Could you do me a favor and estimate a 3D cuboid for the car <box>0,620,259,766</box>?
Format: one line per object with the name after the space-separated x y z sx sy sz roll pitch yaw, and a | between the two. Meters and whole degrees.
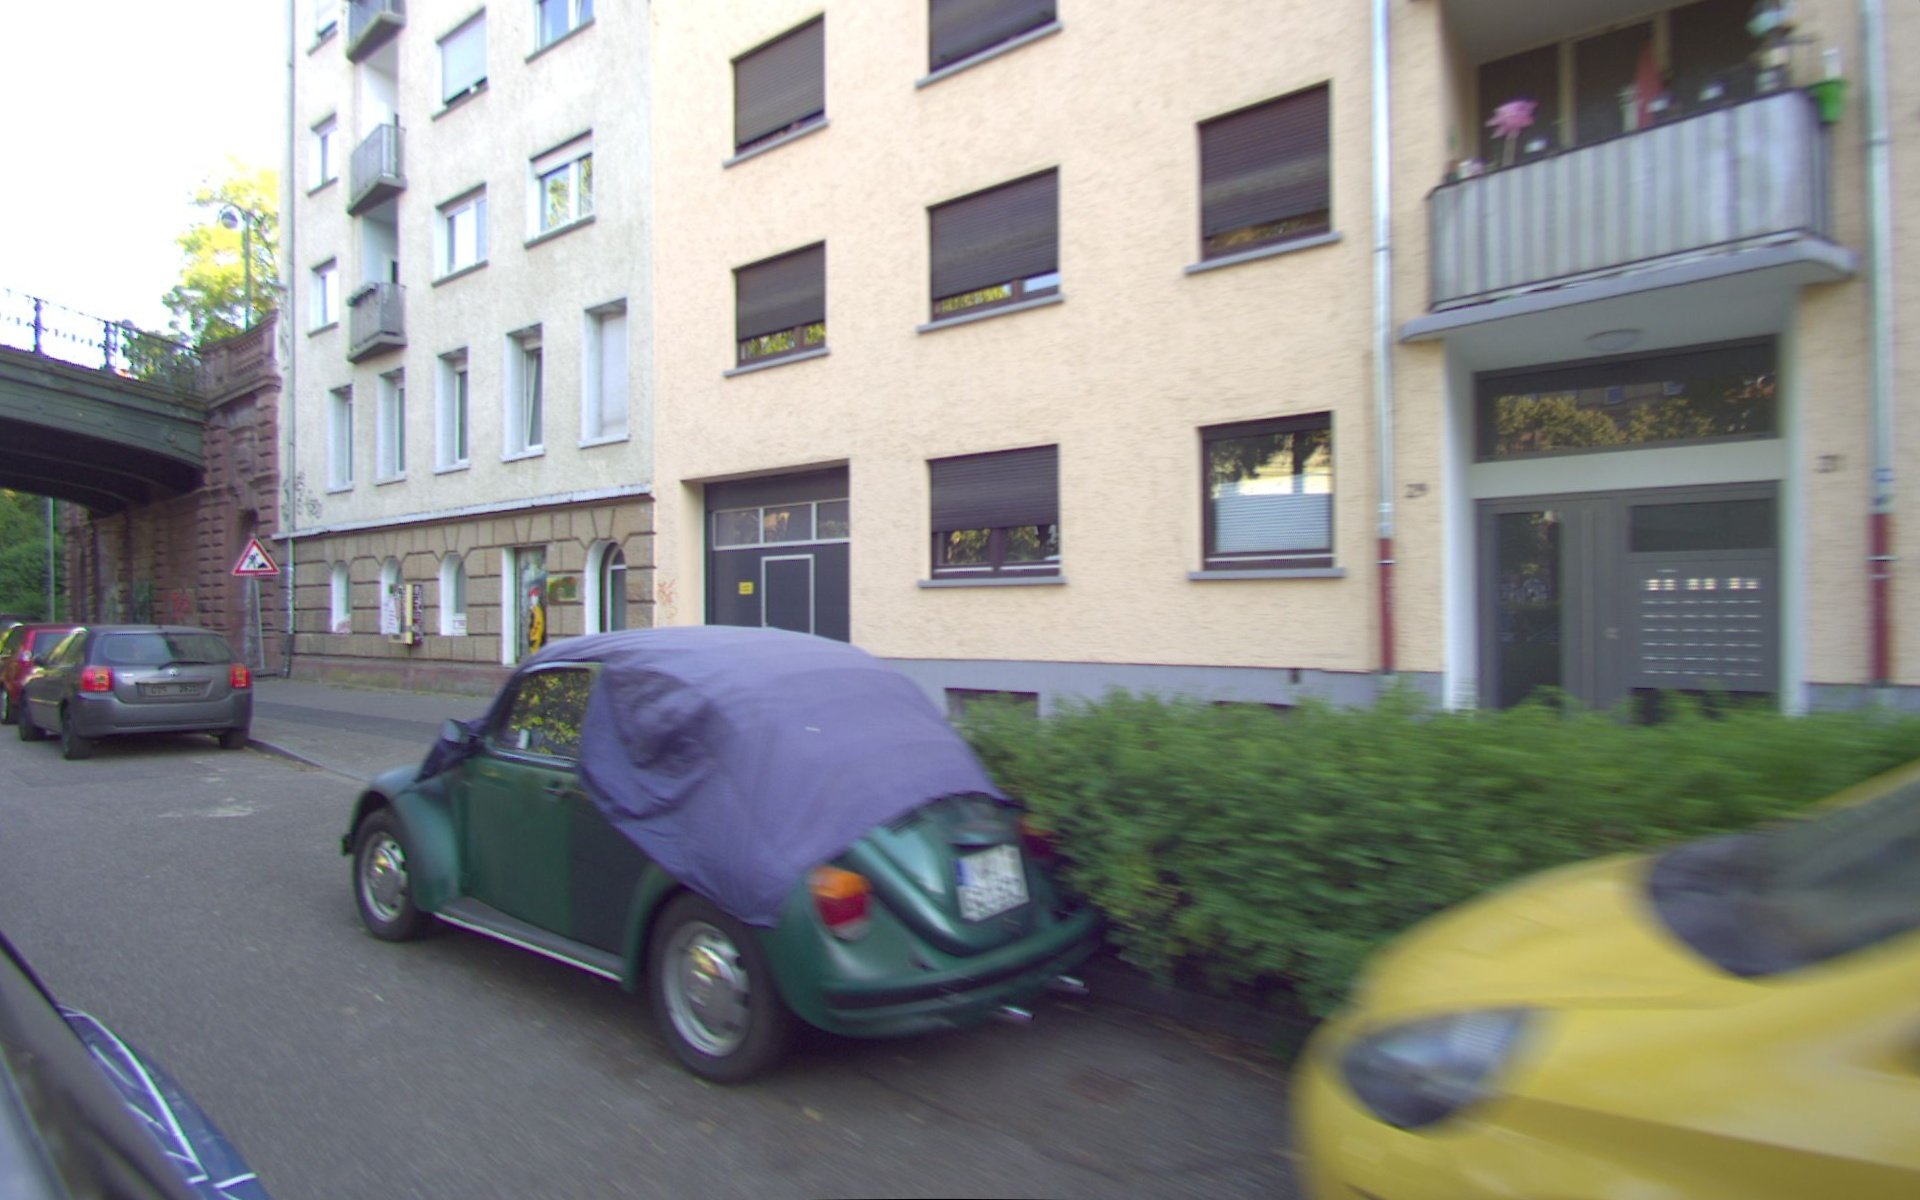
-10.127 1.023 12.232 3.996 1.478 1.620 -1 -4 39 | car

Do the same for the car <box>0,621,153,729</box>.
-14.137 1.063 15.731 3.995 1.452 1.673 -1 -1 39 | car

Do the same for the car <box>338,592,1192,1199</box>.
-1.092 0.777 4.306 3.779 1.529 1.551 -1 -1 40 | car

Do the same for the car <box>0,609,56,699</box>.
-19.992 1.041 20.471 4.315 1.721 1.701 0 -2 37 | car

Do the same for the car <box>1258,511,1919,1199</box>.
2.493 0.660 1.191 3.768 1.537 1.686 -1 -1 38 | car

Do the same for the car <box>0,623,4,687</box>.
-24.058 1.255 23.836 3.996 1.475 1.700 -1 -2 39 | car
